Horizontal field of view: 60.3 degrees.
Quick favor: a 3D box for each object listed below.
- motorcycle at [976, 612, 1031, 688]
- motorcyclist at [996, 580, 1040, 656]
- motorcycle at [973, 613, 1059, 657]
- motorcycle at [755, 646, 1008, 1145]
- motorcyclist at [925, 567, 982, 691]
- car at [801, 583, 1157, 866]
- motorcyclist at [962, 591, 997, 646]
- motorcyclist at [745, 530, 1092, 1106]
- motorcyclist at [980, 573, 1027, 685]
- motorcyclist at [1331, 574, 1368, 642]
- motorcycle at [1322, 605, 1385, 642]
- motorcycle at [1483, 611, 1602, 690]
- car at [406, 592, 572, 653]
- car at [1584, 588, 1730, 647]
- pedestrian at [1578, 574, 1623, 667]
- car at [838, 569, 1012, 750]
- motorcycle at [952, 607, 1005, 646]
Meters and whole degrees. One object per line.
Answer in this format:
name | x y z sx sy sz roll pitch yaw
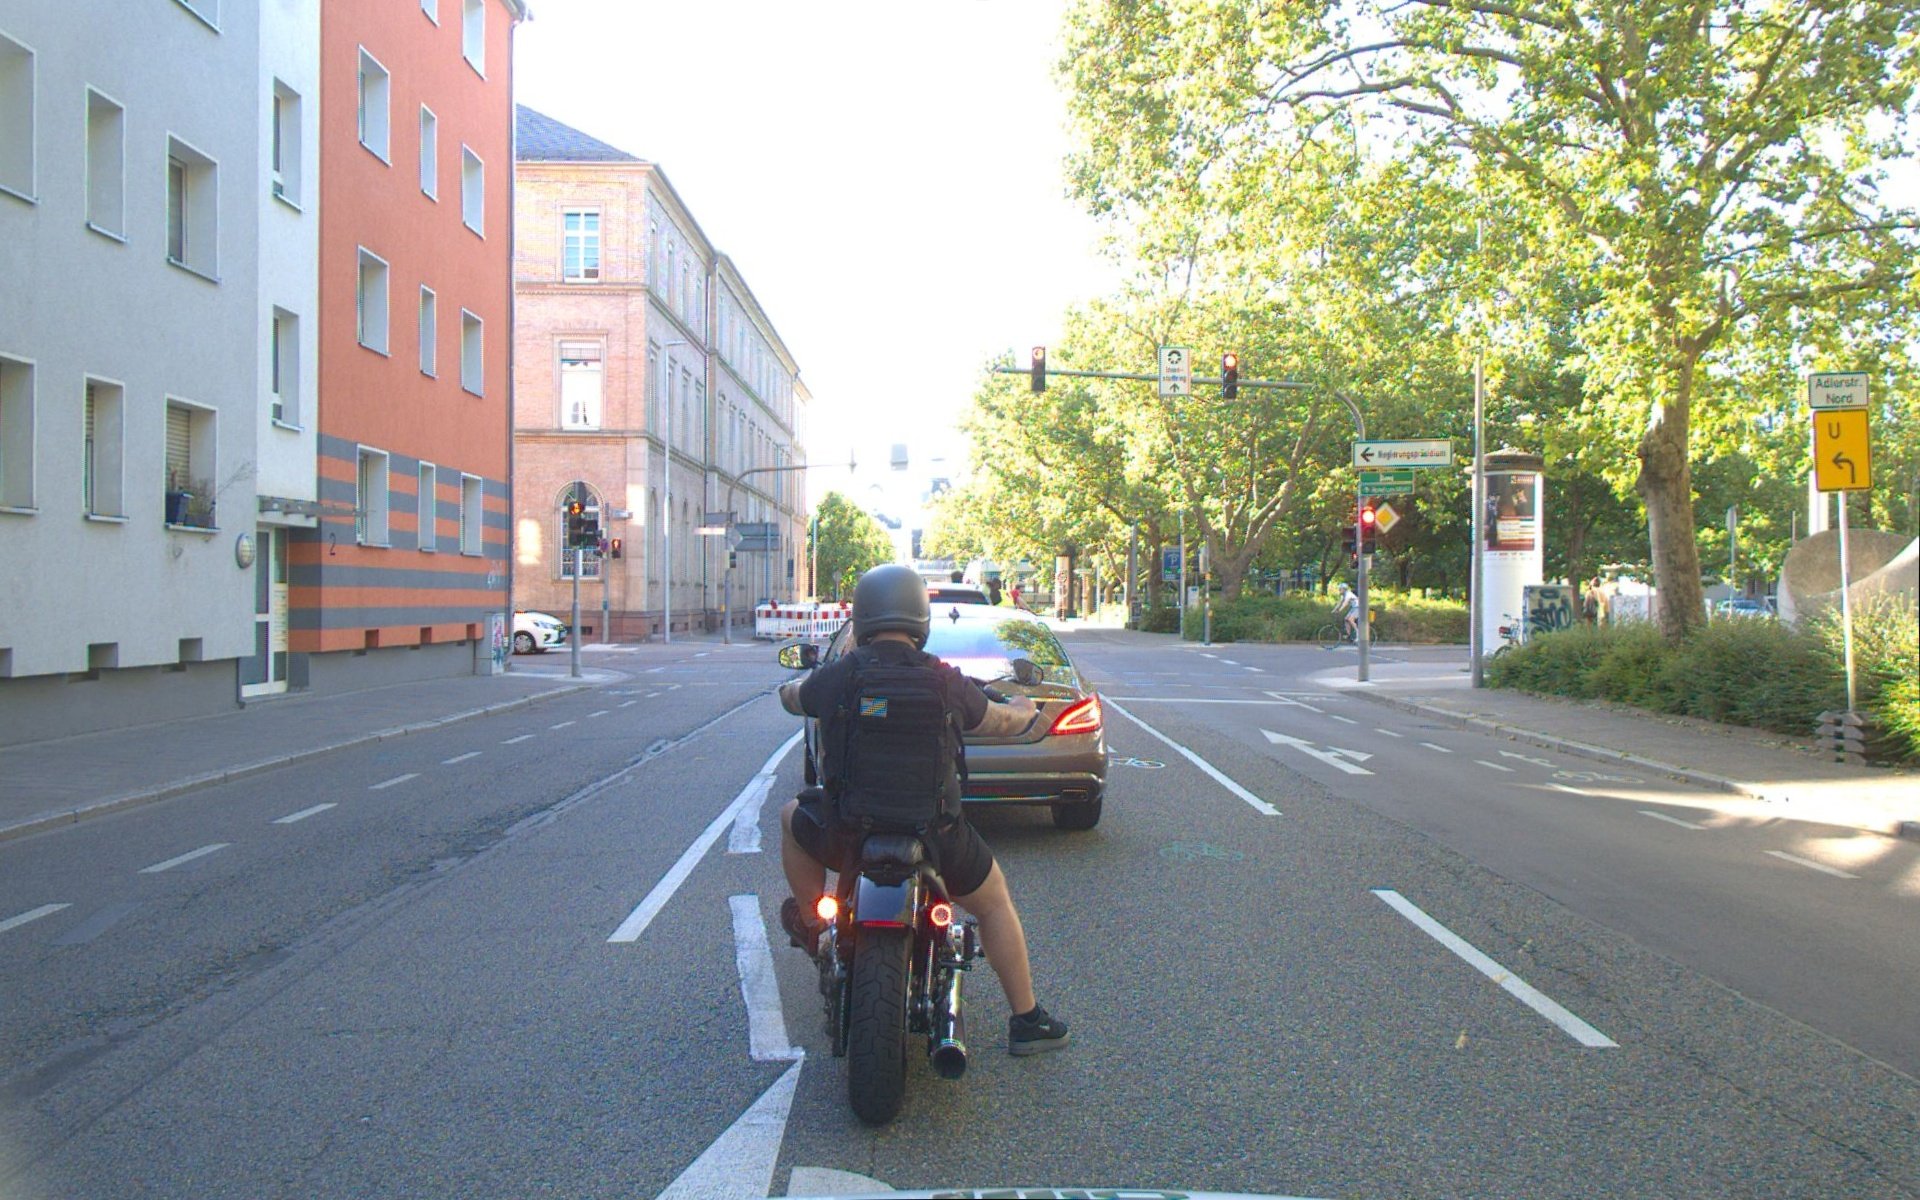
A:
motorcycle | 0.686 0.780 26.761 0.781 1.151 2.236 1 0 -1
motorcyclist | 1.352 0.421 38.542 0.964 1.753 0.550 1 -1 0
motorcycle | 1.293 0.816 38.534 1.971 0.979 0.580 1 0 0
motorcycle | -0.221 0.810 5.402 0.646 1.261 2.057 1 0 -1
motorcyclist | -0.100 0.434 25.035 0.814 1.820 0.913 1 -1 -1
car | -0.088 0.685 11.112 1.790 1.512 4.326 1 0 -7
motorcyclist | 0.584 0.545 48.276 0.631 1.564 0.941 1 -1 29
motorcyclist | -0.126 0.630 5.312 0.970 1.639 1.120 1 0 -1
motorcyclist | 0.700 0.465 26.769 0.702 1.773 0.751 1 -1 -1
motorcyclist | 11.008 0.221 46.761 0.962 1.909 0.376 0 -1 3
motorcycle | 11.123 0.669 46.780 1.683 1.019 0.416 0 0 3
motorcycle | 9.775 0.840 27.809 1.743 1.265 0.723 1 0 4
car | -11.554 0.546 40.695 3.670 1.442 1.439 0 0 -3
car | 21.991 0.543 52.279 3.907 1.803 1.737 0 0 -3
pedestrian | 12.844 0.408 33.191 0.634 1.859 0.667 0 0 -1
car | -0.356 0.574 17.610 1.618 1.681 3.999 1 0 -1
motorcycle | 0.557 0.771 48.174 0.614 1.116 2.084 1 0 29
